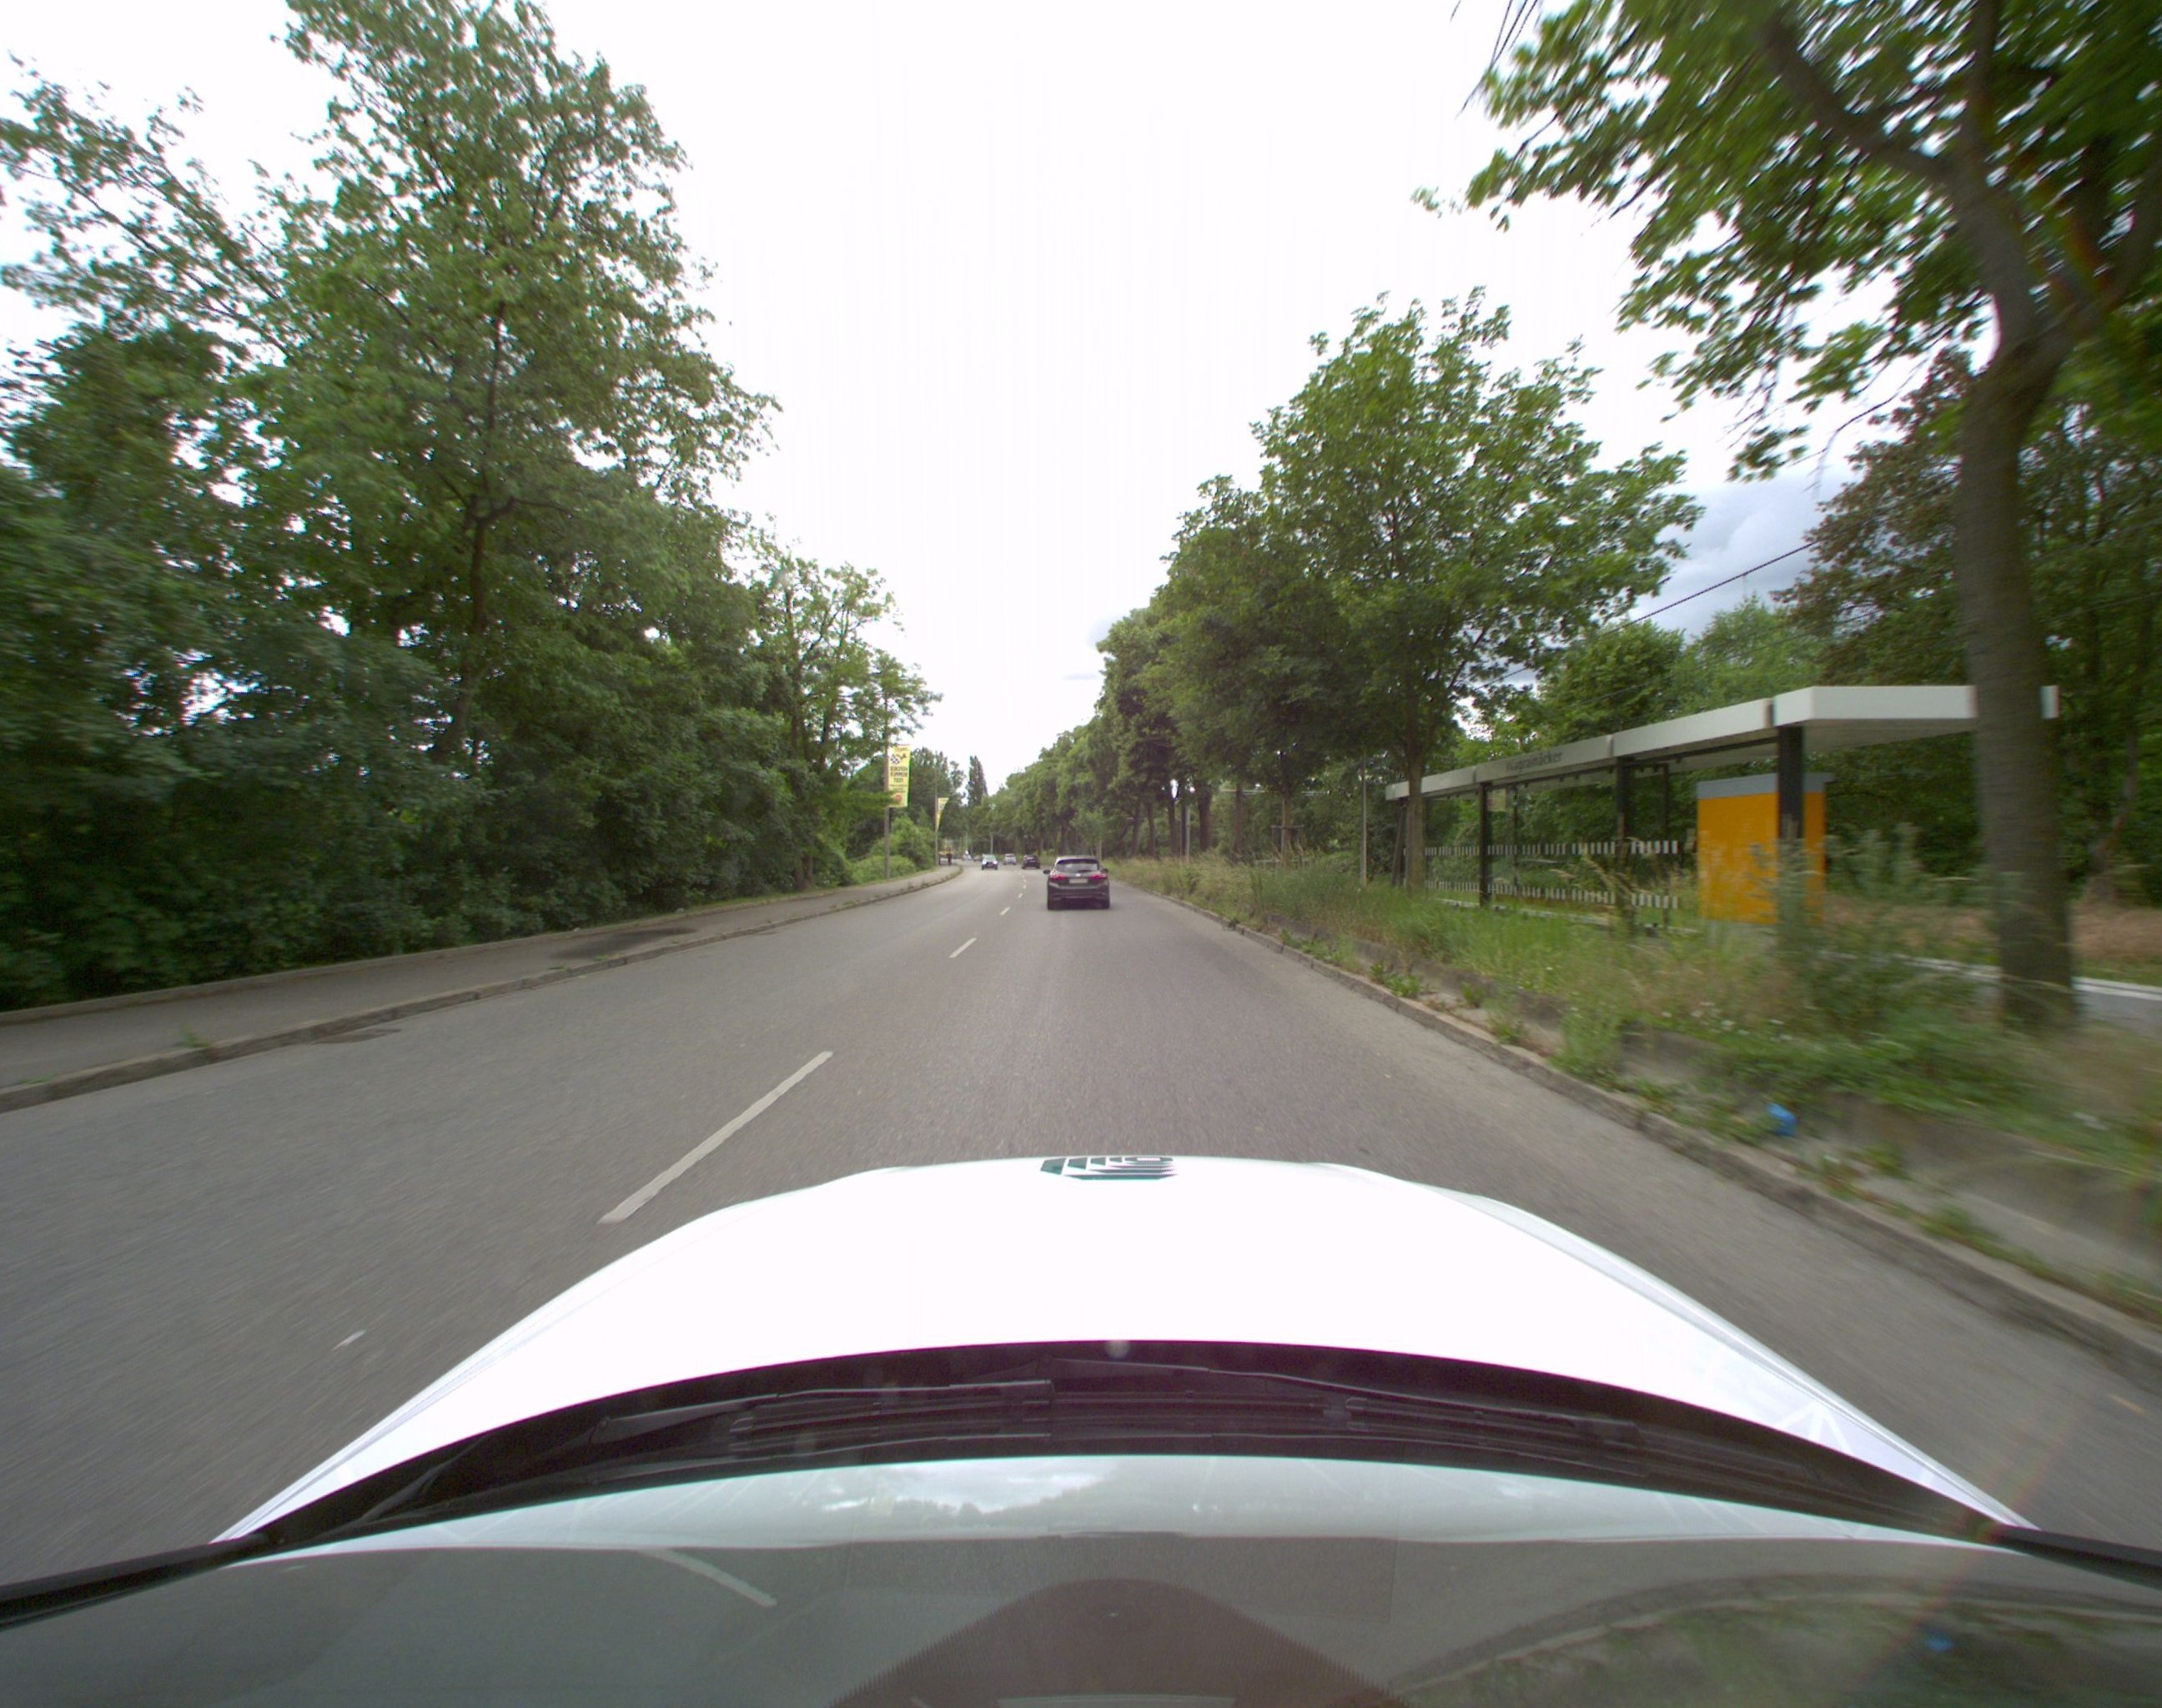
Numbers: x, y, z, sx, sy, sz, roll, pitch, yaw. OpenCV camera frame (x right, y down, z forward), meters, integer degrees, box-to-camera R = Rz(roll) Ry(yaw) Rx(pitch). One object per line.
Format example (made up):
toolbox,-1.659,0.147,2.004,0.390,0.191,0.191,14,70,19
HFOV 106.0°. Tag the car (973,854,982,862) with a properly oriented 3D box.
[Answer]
car,-20.514,0.699,161.018,1.775,1.472,3.989,1,1,-8

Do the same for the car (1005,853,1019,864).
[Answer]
car,-9.728,0.617,114.493,1.772,1.472,3.995,2,1,-4

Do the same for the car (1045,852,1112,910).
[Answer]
car,-0.141,0.735,24.180,1.812,1.508,3.997,-1,1,-3

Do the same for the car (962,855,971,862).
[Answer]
car,-25.646,0.929,182.206,1.776,1.472,3.986,2,1,-10

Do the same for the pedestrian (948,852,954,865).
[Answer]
pedestrian,-16.247,0.570,101.624,0.617,1.571,0.847,2,0,-8

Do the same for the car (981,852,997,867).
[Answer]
car,-9.654,0.591,85.773,1.593,1.506,3.022,-1,0,-6

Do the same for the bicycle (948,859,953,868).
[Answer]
bicycle,-16.272,1.204,101.707,0.487,1.030,1.121,2,0,-8

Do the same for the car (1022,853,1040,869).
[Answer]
car,-5.225,0.694,85.198,1.772,1.472,3.995,2,1,-3

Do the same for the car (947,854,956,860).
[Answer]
car,-33.111,0.756,208.626,1.779,1.472,3.979,2,1,-16
